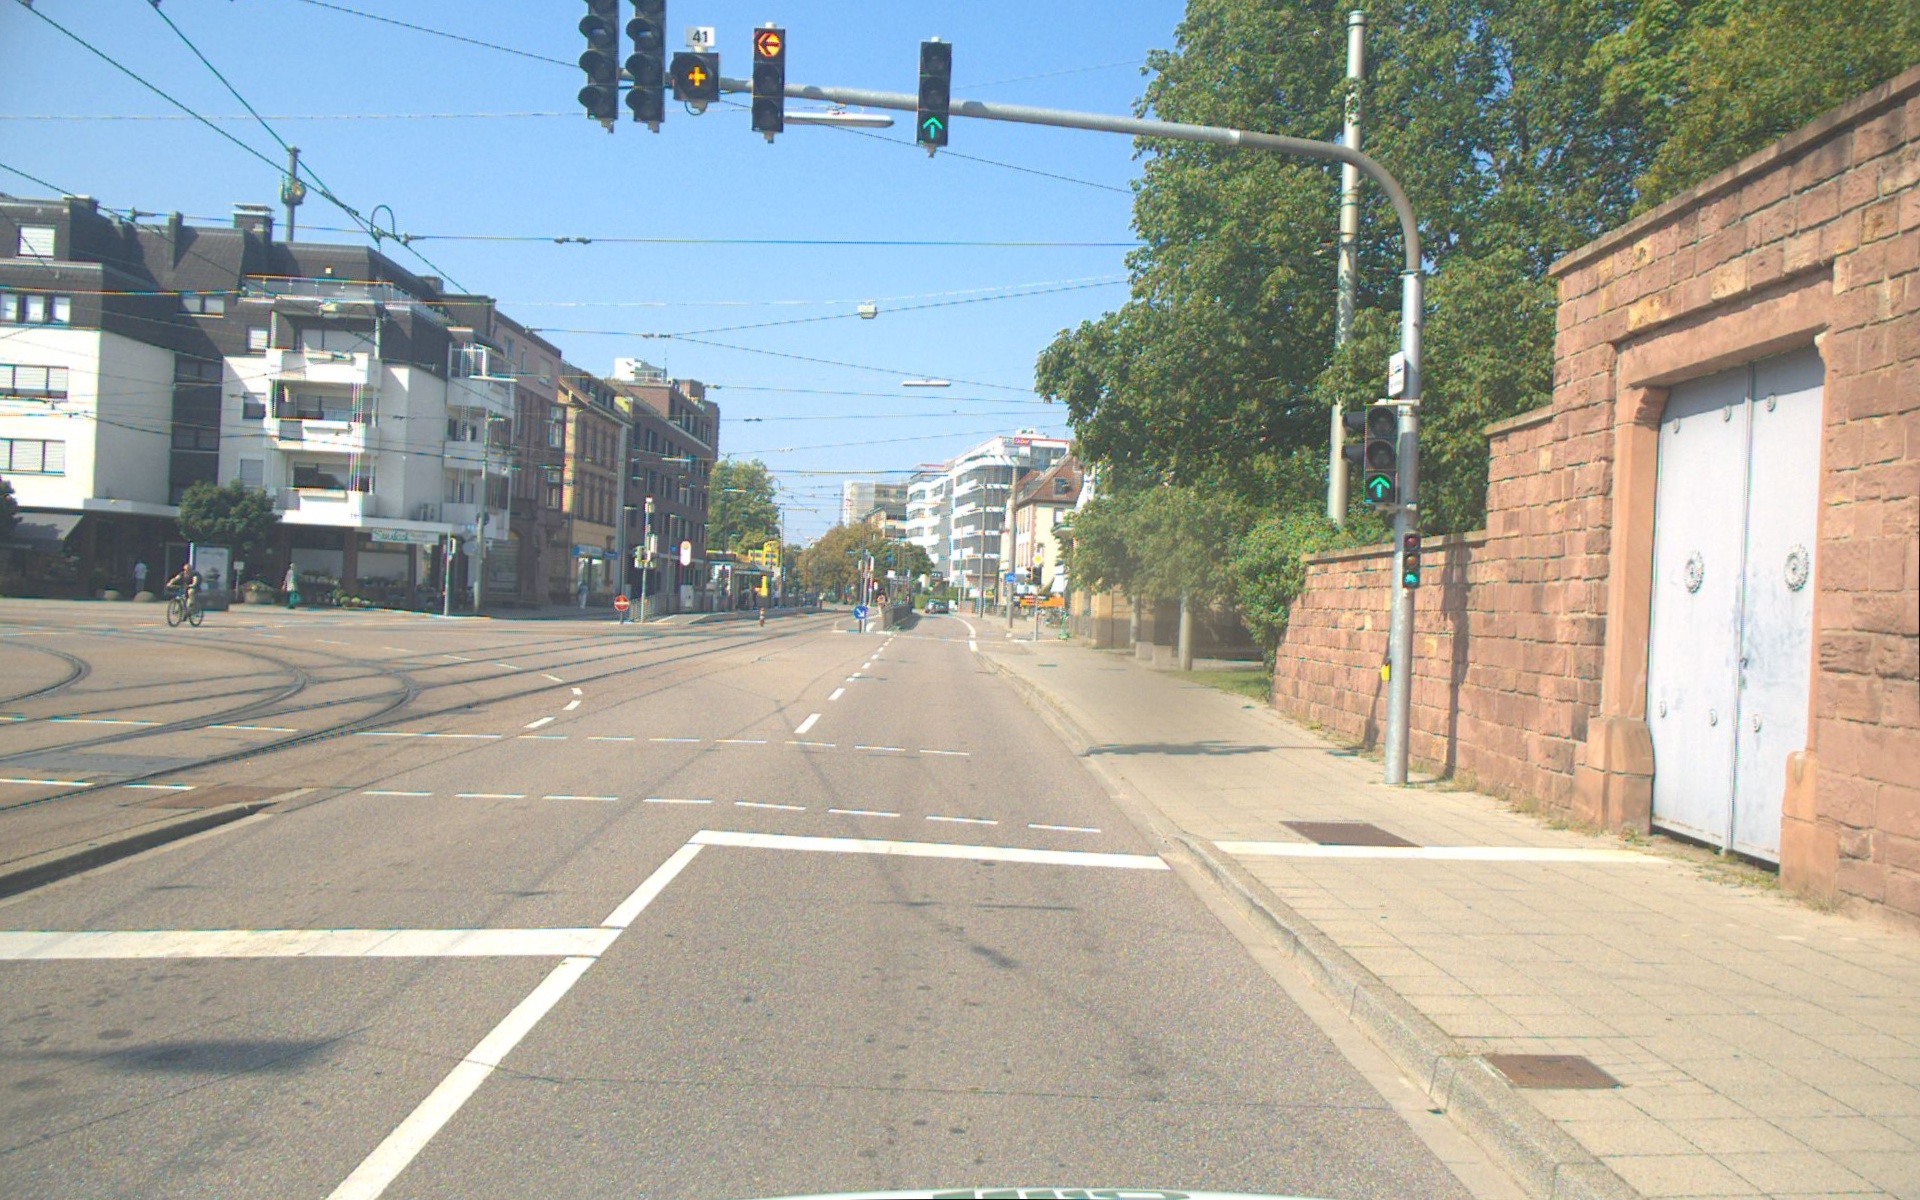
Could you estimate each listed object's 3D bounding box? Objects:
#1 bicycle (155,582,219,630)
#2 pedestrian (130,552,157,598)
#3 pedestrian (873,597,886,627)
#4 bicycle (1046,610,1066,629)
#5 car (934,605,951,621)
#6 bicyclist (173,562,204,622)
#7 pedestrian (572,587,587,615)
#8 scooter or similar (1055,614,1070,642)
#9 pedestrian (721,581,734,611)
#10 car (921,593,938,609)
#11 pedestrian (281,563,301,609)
[{"bbox_3d":[-20.108,0.143,43.068,0.563,1.200,2.208,1,0,1],"label":"bicycle"},{"bbox_3d":[-31.974,-0.988,64.773,0.665,1.771,0.698,1,-1,0],"label":"pedestrian"},{"bbox_3d":[-4.753,0.725,98.053,0.705,1.733,0.884,1,-1,0],"label":"pedestrian"},{"bbox_3d":[5.867,1.197,101.095,0.717,1.152,2.835,-1,0,-8],"label":"bicycle"},{"bbox_3d":[-2.012,1.496,190.965,1.970,1.891,4.000,1,0,0],"label":"car"},{"bbox_3d":[-20.101,-0.194,43.090,0.556,1.549,0.490,1,-1,1],"label":"bicyclist"},{"bbox_3d":[-22.028,0.079,95.728,0.472,1.587,0.888,3,-2,10],"label":"pedestrian"},{"bbox_3d":[4.321,1.159,69.582,0.512,1.153,1.511,1,0,0],"label":"scooter or similar"},{"bbox_3d":[-13.996,-0.233,99.580,0.693,1.754,0.799,1,-1,0],"label":"pedestrian"},{"bbox_3d":[-3.636,0.158,197.192,1.970,1.891,4.000,1,0,0],"label":"car"},{"bbox_3d":[-25.833,-0.534,63.884,0.593,1.776,0.559,1,-1,-34],"label":"pedestrian"}]
